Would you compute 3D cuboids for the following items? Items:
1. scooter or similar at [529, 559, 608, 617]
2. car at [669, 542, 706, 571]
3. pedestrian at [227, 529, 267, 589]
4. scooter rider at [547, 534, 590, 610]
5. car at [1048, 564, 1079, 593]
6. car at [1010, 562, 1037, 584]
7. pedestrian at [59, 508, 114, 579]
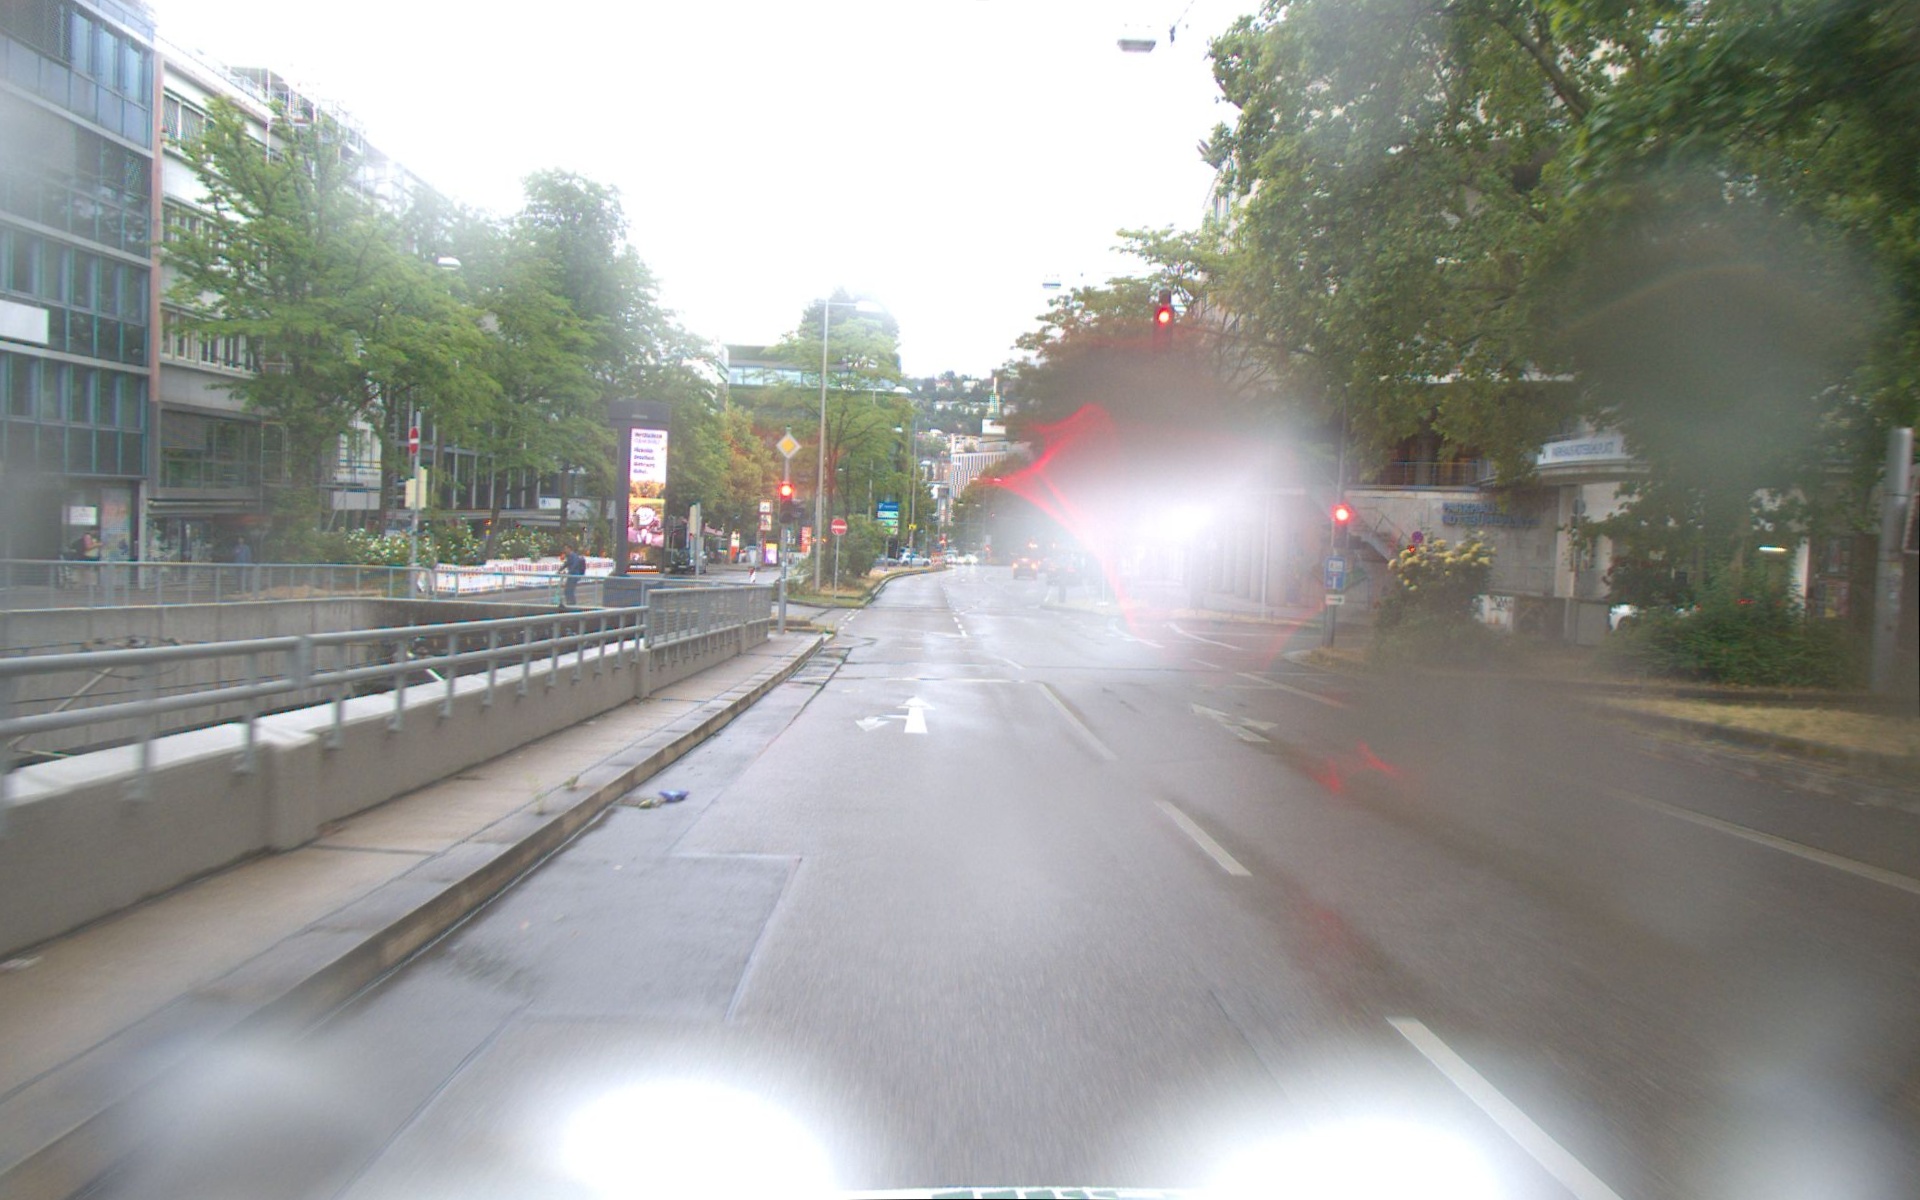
[{"bbox_3d":[-10.460,-0.315,44.233,1.908,1.443,0.548,3,1,4],"label":"scooter or similar"},{"bbox_3d":[-17.257,-2.783,104.968,1.745,1.582,3.893,3,3,-2],"label":"car"},{"bbox_3d":[-23.075,-1.327,53.541,0.859,1.900,0.866,3,1,-2],"label":"pedestrian"},{"bbox_3d":[-10.460,-0.745,44.233,0.802,1.981,0.812,3,1,5],"label":"scooter rider"},{"bbox_3d":[6.603,-1.405,105.549,1.862,1.713,3.912,3,1,3],"label":"car"},{"bbox_3d":[4.847,-2.059,126.185,1.711,1.545,4.106,3,1,-1],"label":"car"},{"bbox_3d":[-24.230,-1.570,45.867,0.846,1.900,0.960,3,1,17],"label":"pedestrian"}]
